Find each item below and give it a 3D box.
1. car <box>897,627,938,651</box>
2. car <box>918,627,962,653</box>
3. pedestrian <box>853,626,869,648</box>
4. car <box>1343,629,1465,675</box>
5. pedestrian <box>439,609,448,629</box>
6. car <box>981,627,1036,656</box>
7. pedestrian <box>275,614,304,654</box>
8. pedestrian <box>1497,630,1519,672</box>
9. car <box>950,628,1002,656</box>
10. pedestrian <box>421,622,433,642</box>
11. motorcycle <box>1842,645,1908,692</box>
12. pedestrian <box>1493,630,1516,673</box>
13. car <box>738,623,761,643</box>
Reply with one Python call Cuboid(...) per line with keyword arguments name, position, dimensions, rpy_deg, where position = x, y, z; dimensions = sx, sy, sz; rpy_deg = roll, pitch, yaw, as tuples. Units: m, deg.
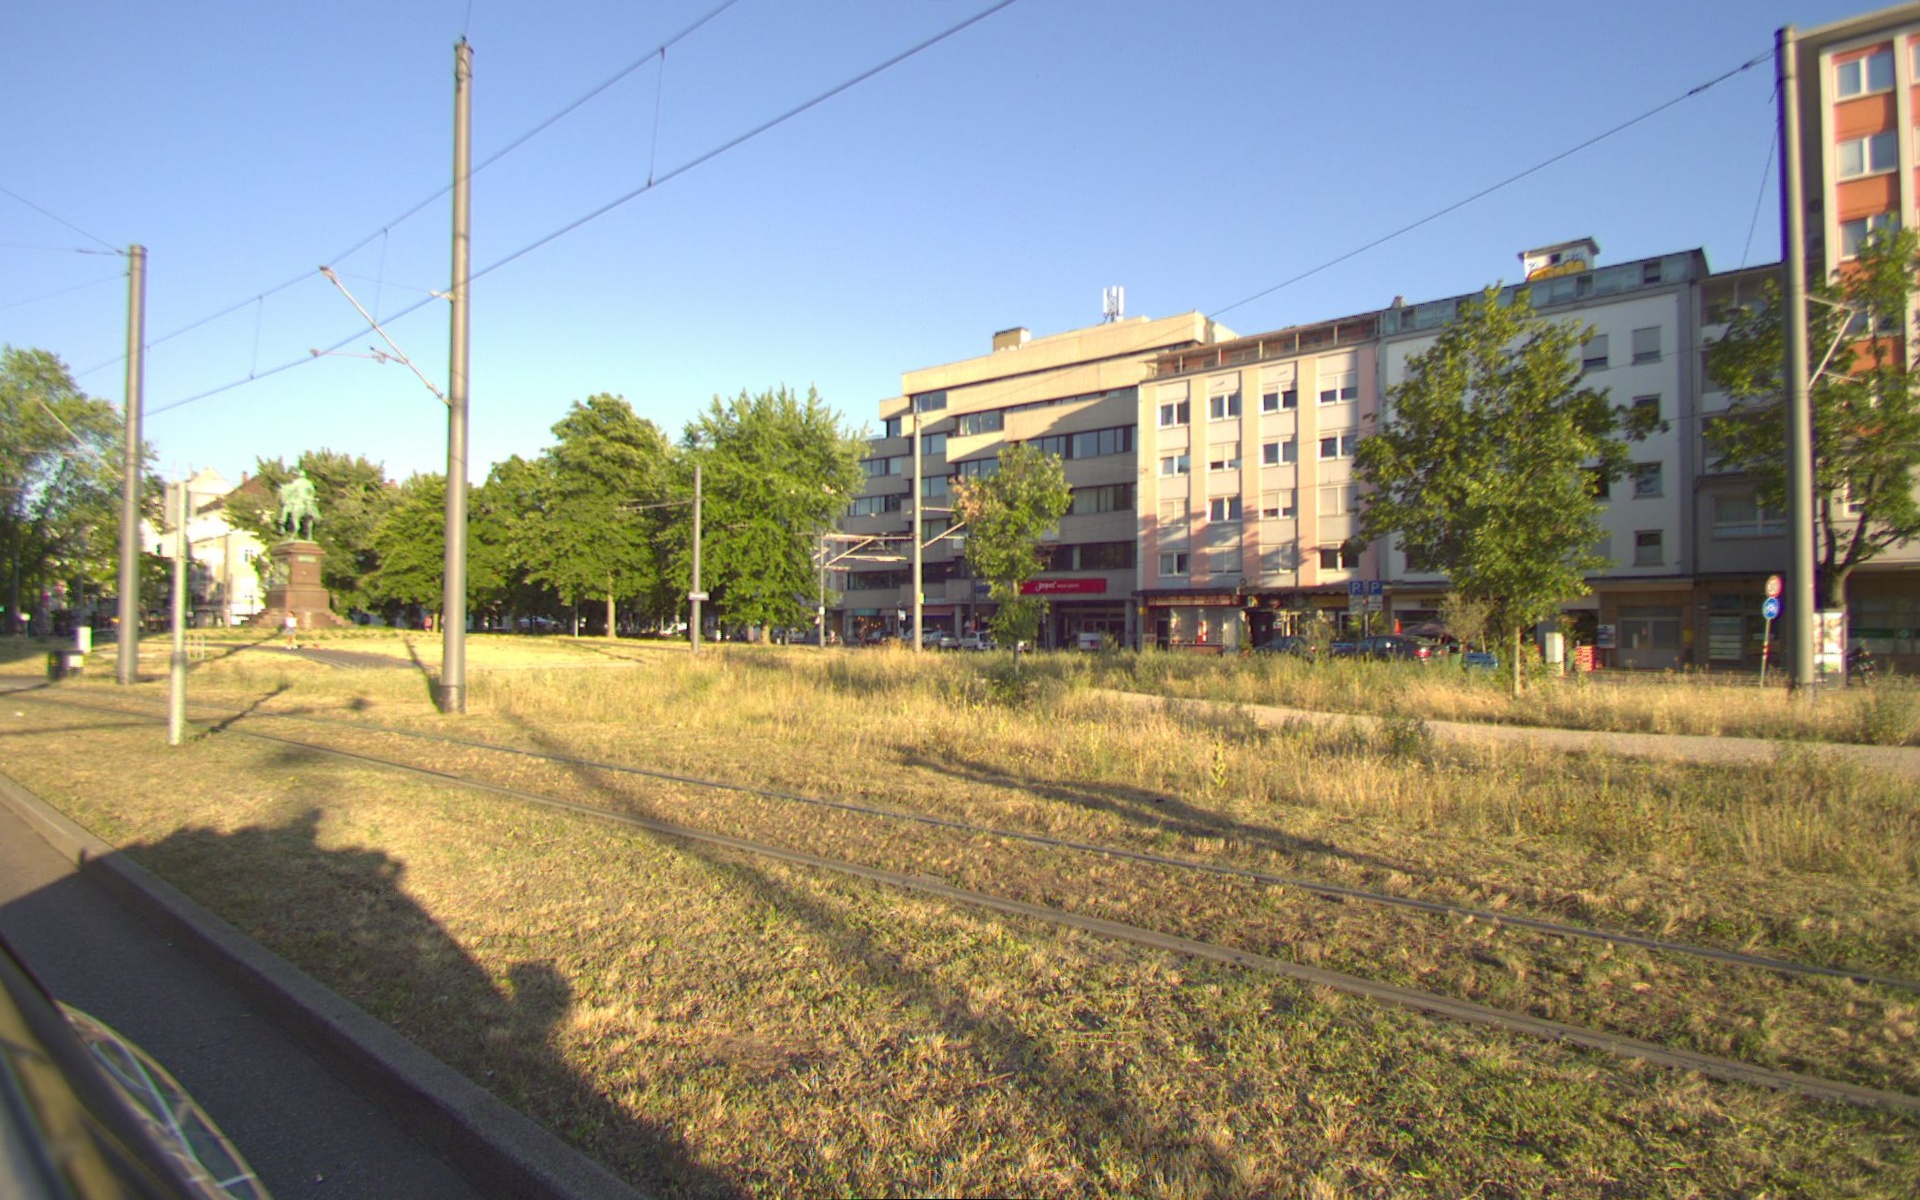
Cuboid(name="car", position=(-3.461, 3.130, 81.969), dimensions=(1.965, 1.951, 4.013), rpy_deg=(1, -2, -25))
Cuboid(name="car", position=(-1.536, 3.009, 77.062), dimensions=(1.965, 1.893, 4.013), rpy_deg=(1, -2, -23))
Cuboid(name="pedestrian", position=(-9.151, 3.405, 93.689), dimensions=(0.892, 2.051, 1.123), rpy_deg=(-2, -2, 43))
Cuboid(name="car", position=(17.259, 1.992, 39.519), dimensions=(1.965, 1.697, 4.012), rpy_deg=(1, -2, -28))
Cuboid(name="pedestrian", position=(-43.440, 1.609, 85.061), dimensions=(0.512, 1.707, 0.528), rpy_deg=(-1, -2, 41))
Cuboid(name="car", position=(3.183, 2.713, 66.930), dimensions=(1.892, 1.878, 4.013), rpy_deg=(1, -2, -27))
Cuboid(name="pedestrian", position=(-29.679, 1.505, 44.778), dimensions=(0.797, 1.741, 0.880), rpy_deg=(-2, -2, 41))
Cuboid(name="pedestrian", position=(23.301, 2.168, 43.016), dimensions=(0.698, 1.764, 0.642), rpy_deg=(-2, -2, 41))
Cuboid(name="car", position=(1.094, 2.940, 71.523), dimensions=(1.965, 1.893, 4.013), rpy_deg=(1, -2, -27))
Cuboid(name="pedestrian", position=(-44.641, 2.647, 84.742), dimensions=(0.635, 1.682, 0.702), rpy_deg=(-1, -2, 41))
Cuboid(name="motorcycle", position=(26.580, 1.979, 29.419), dimensions=(1.390, 1.328, 0.376), rpy_deg=(-2, -2, 43))
Cuboid(name="pedestrian", position=(22.884, 2.162, 42.521), dimensions=(0.704, 1.806, 0.587), rpy_deg=(-2, -2, 41))
Cuboid(name="car", position=(-23.531, 3.666, 113.107), dimensions=(1.966, 2.029, 4.012), rpy_deg=(-1, 0, -18))
